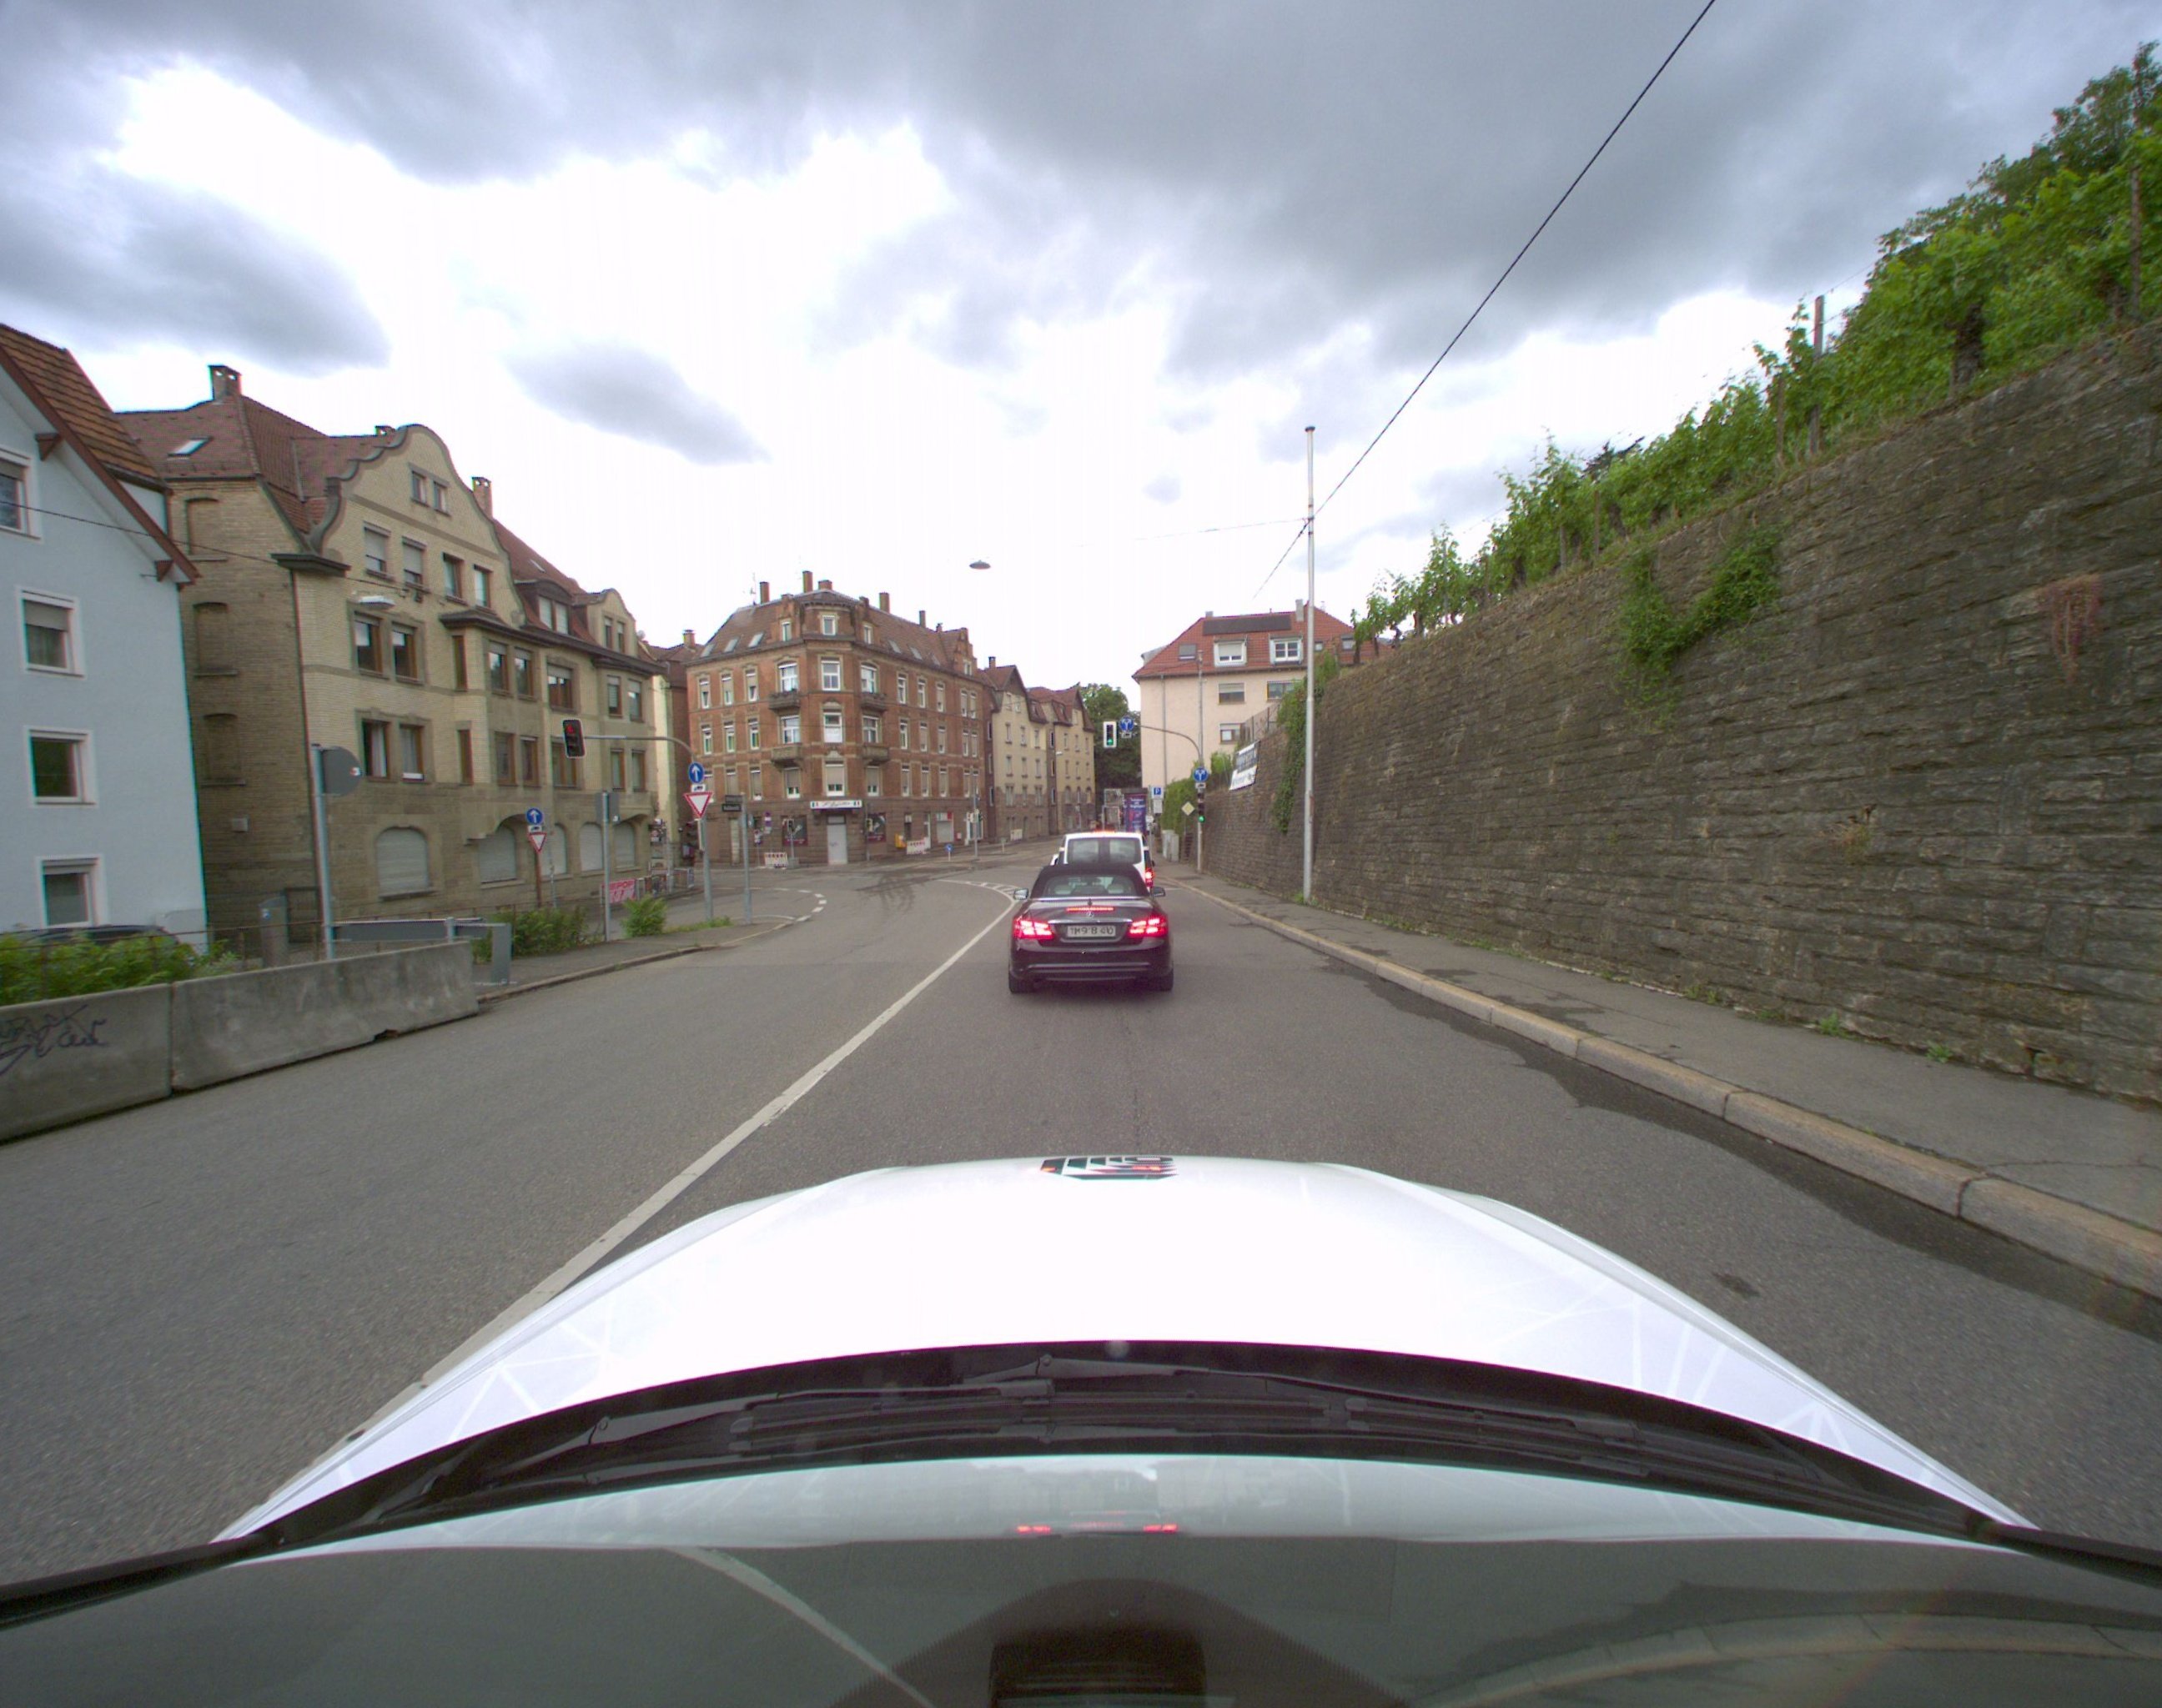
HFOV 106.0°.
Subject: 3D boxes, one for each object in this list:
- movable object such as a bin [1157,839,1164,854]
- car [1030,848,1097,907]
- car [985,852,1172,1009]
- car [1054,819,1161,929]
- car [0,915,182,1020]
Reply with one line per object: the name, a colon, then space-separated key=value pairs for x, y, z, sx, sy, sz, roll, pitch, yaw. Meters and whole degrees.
movable object such as a bin: x=5.180 y=-0.485 z=52.834 sx=0.343 sy=0.911 sz=0.494 roll=-2 pitch=0 yaw=-4
car: x=-0.421 y=0.600 z=23.213 sx=1.674 sy=1.466 sz=3.920 roll=-2 pitch=1 yaw=2
car: x=0.042 y=0.737 z=10.072 sx=1.755 sy=1.409 sz=4.401 roll=-2 pitch=1 yaw=2
car: x=0.549 y=0.338 z=17.042 sx=1.884 sy=1.928 sz=4.647 roll=-2 pitch=1 yaw=2
car: x=-19.308 y=2.102 z=14.520 sx=1.676 sy=1.555 sz=4.235 roll=-4 pitch=0 yaw=1
